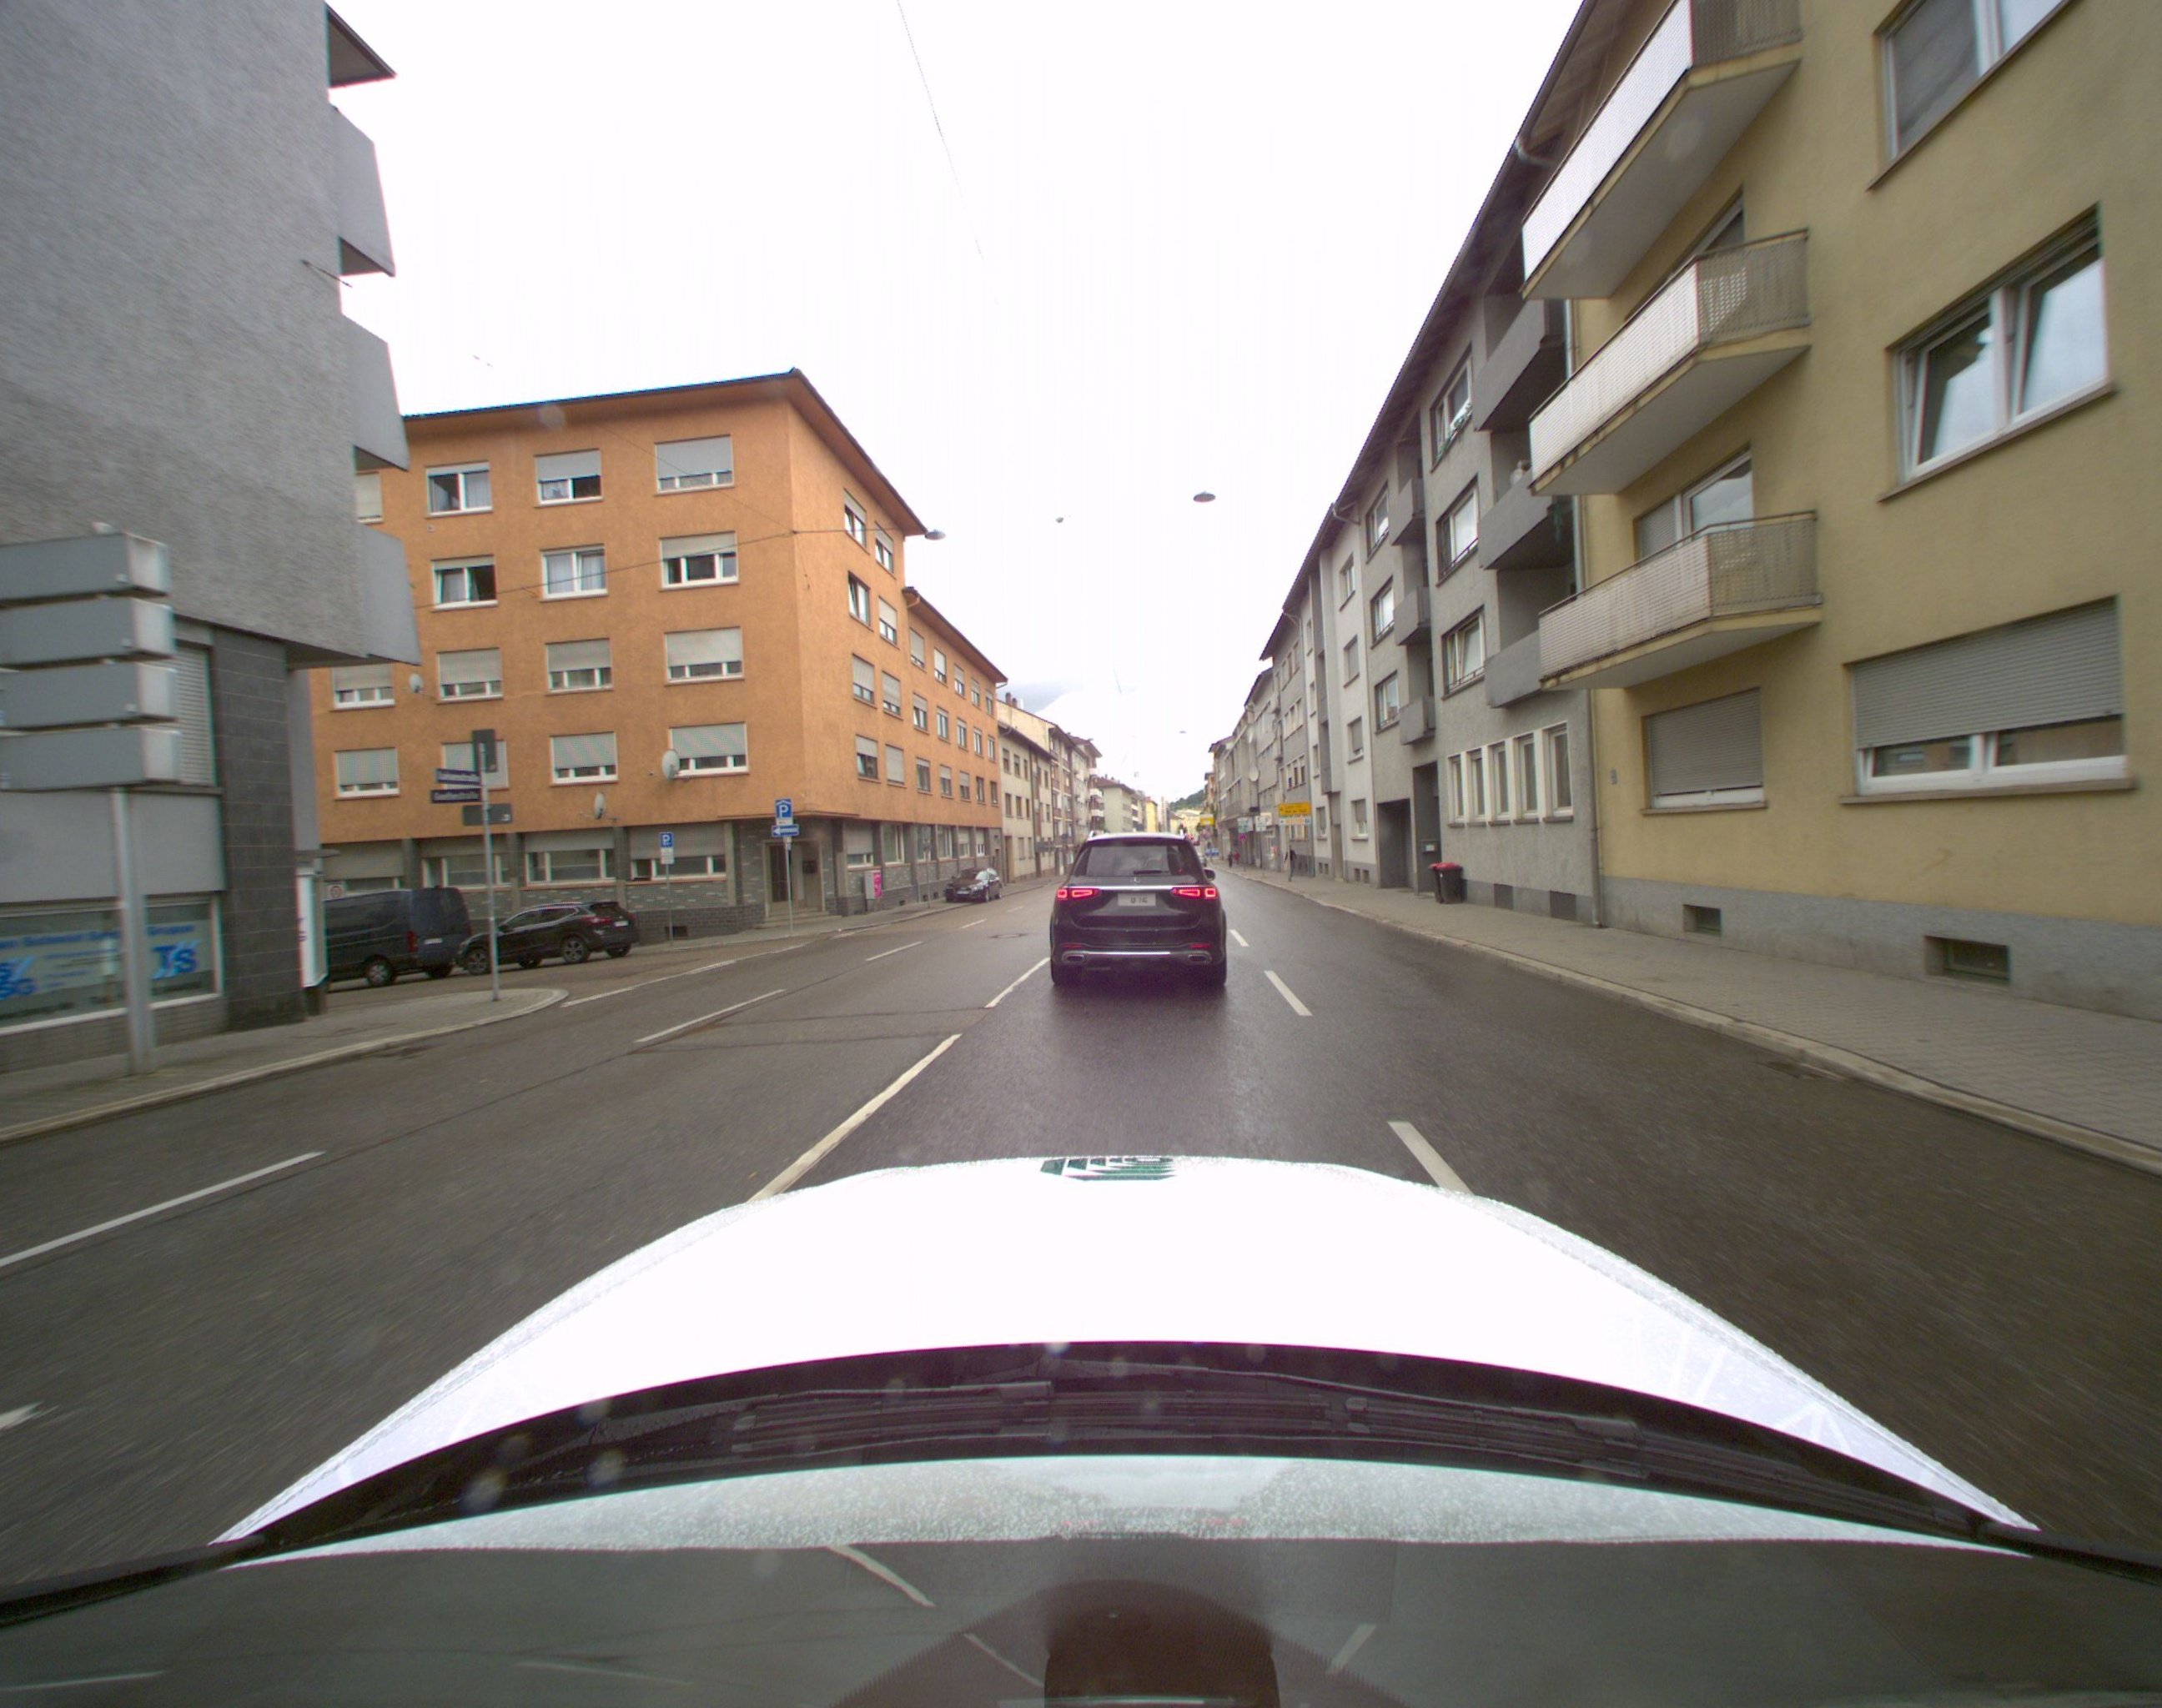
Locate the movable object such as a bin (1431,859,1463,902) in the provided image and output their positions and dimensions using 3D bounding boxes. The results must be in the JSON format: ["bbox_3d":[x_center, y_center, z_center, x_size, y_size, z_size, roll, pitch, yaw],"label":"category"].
[{"bbox_3d":[8.819,0.623,19.637,0.470,0.962,0.565,-6,0,8],"label":"movable object such as a bin"}]

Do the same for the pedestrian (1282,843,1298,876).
[{"bbox_3d":[11.467,0.316,44.728,0.651,1.752,0.744,-5,0,11],"label":"pedestrian"}]

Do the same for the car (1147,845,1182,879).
[{"bbox_3d":[5.273,0.450,51.087,1.982,2.013,4.010,-2,0,8],"label":"car"}]

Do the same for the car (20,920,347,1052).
[{"bbox_3d":[-16.633,2.407,15.242,3.969,1.717,1.933,-7,0,4],"label":"car"}]

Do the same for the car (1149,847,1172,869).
[{"bbox_3d":[7.809,0.399,79.655,1.982,2.013,4.010,-2,0,8],"label":"car"}]

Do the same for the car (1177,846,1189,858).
[{"bbox_3d":[17.269,-0.322,137.645,1.982,2.013,4.010,-2,0,8],"label":"car"}]

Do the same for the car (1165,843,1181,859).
[{"bbox_3d":[12.599,-0.396,111.141,1.982,2.013,4.010,-2,0,8],"label":"car"}]

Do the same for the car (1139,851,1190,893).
[{"bbox_3d":[3.270,0.663,32.667,1.885,1.510,4.178,-1,0,4],"label":"car"}]

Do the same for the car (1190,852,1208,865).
[{"bbox_3d":[13.546,0.523,93.444,1.726,1.388,4.589,-2,0,5],"label":"car"}]

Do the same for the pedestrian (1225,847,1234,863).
[{"bbox_3d":[14.192,0.081,77.750,0.816,1.565,0.902,-2,0,9],"label":"pedestrian"}]

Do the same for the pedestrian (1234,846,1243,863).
[{"bbox_3d":[15.035,0.032,77.655,0.816,1.565,0.902,-2,0,9],"label":"pedestrian"}]

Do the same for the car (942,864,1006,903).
[{"bbox_3d":[-4.702,1.263,36.423,1.882,1.458,4.555,-2,0,5],"label":"car"}]

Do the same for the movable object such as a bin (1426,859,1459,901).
[{"bbox_3d":[8.959,0.640,20.179,0.559,0.962,0.475,-6,0,8],"label":"movable object such as a bin"}]

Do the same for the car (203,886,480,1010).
[{"bbox_3d":[-19.617,2.429,21.788,5.324,2.458,1.983,-7,0,0],"label":"car"}]

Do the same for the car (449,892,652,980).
[{"bbox_3d":[-13.821,2.107,21.351,3.967,1.652,1.934,-7,0,6],"label":"car"}]

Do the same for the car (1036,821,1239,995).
[{"bbox_3d":[0.792,0.537,10.811,2.066,1.765,4.618,-2,1,5],"label":"car"}]
